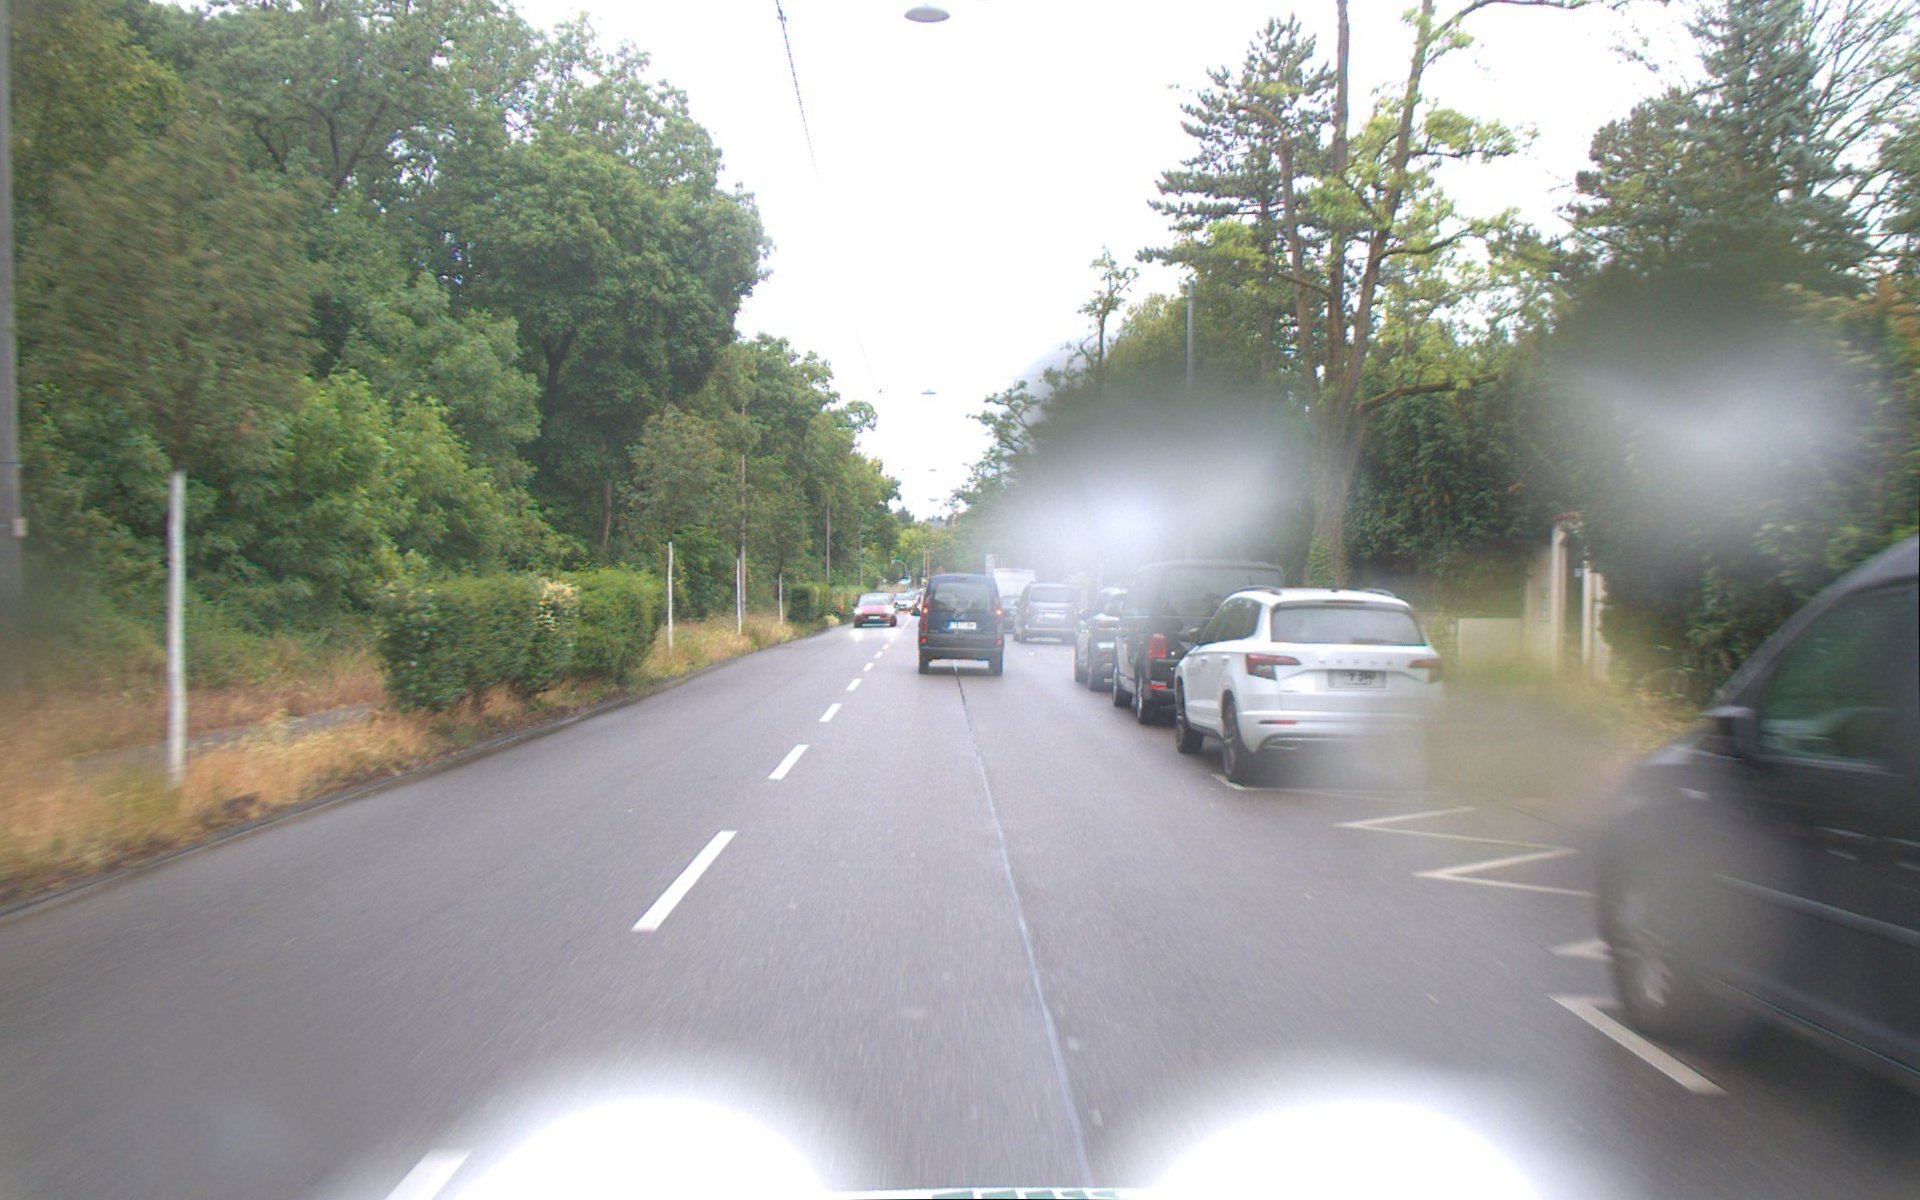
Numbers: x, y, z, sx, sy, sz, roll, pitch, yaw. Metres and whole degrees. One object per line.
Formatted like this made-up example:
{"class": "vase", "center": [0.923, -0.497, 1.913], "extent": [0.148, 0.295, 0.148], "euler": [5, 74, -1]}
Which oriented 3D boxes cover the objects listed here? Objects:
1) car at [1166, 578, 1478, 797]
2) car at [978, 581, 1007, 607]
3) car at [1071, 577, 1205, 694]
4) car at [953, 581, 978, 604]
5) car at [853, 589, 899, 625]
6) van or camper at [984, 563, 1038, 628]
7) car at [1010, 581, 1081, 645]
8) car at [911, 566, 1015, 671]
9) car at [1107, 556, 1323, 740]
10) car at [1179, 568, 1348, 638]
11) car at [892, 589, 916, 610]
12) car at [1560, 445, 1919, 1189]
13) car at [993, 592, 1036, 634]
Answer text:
{"class": "car", "center": [3.087, 0.652, 15.020], "extent": [1.768, 1.641, 4.285], "euler": [2, 1, -1]}
{"class": "car", "center": [2.067, -0.399, 105.156], "extent": [1.686, 1.532, 4.050], "euler": [2, 1, 0]}
{"class": "car", "center": [2.918, 0.519, 27.914], "extent": [1.737, 1.753, 4.326], "euler": [2, 1, 0]}
{"class": "car", "center": [0.375, -0.562, 118.698], "extent": [1.585, 1.534, 3.833], "euler": [2, 1, -2]}
{"class": "car", "center": [-3.659, 0.283, 72.821], "extent": [1.822, 1.506, 4.156], "euler": [-1, 0, 0]}
{"class": "van or camper", "center": [2.197, -0.227, 72.211], "extent": [2.036, 2.696, 5.345], "euler": [2, 1, -1]}
{"class": "car", "center": [2.615, 0.362, 51.656], "extent": [1.778, 1.845, 4.281], "euler": [2, 1, -3]}
{"class": "car", "center": [0.005, 0.306, 31.770], "extent": [1.732, 1.862, 3.540], "euler": [2, 1, -4]}
{"class": "car", "center": [3.132, 0.505, 21.324], "extent": [1.953, 2.048, 4.888], "euler": [2, 1, 0]}
{"class": "car", "center": [8.313, 0.085, 45.597], "extent": [4.221, 1.711, 2.000], "euler": [-2, 0, -1]}
{"class": "car", "center": [-4.255, -0.018, 125.841], "extent": [1.747, 1.505, 3.966], "euler": [0, -1, -1]}
{"class": "car", "center": [3.288, 0.564, 4.482], "extent": [1.695, 1.879, 4.230], "euler": [2, 1, -1]}
{"class": "car", "center": [2.128, 0.484, 64.229], "extent": [1.592, 1.489, 3.809], "euler": [2, 1, 2]}
